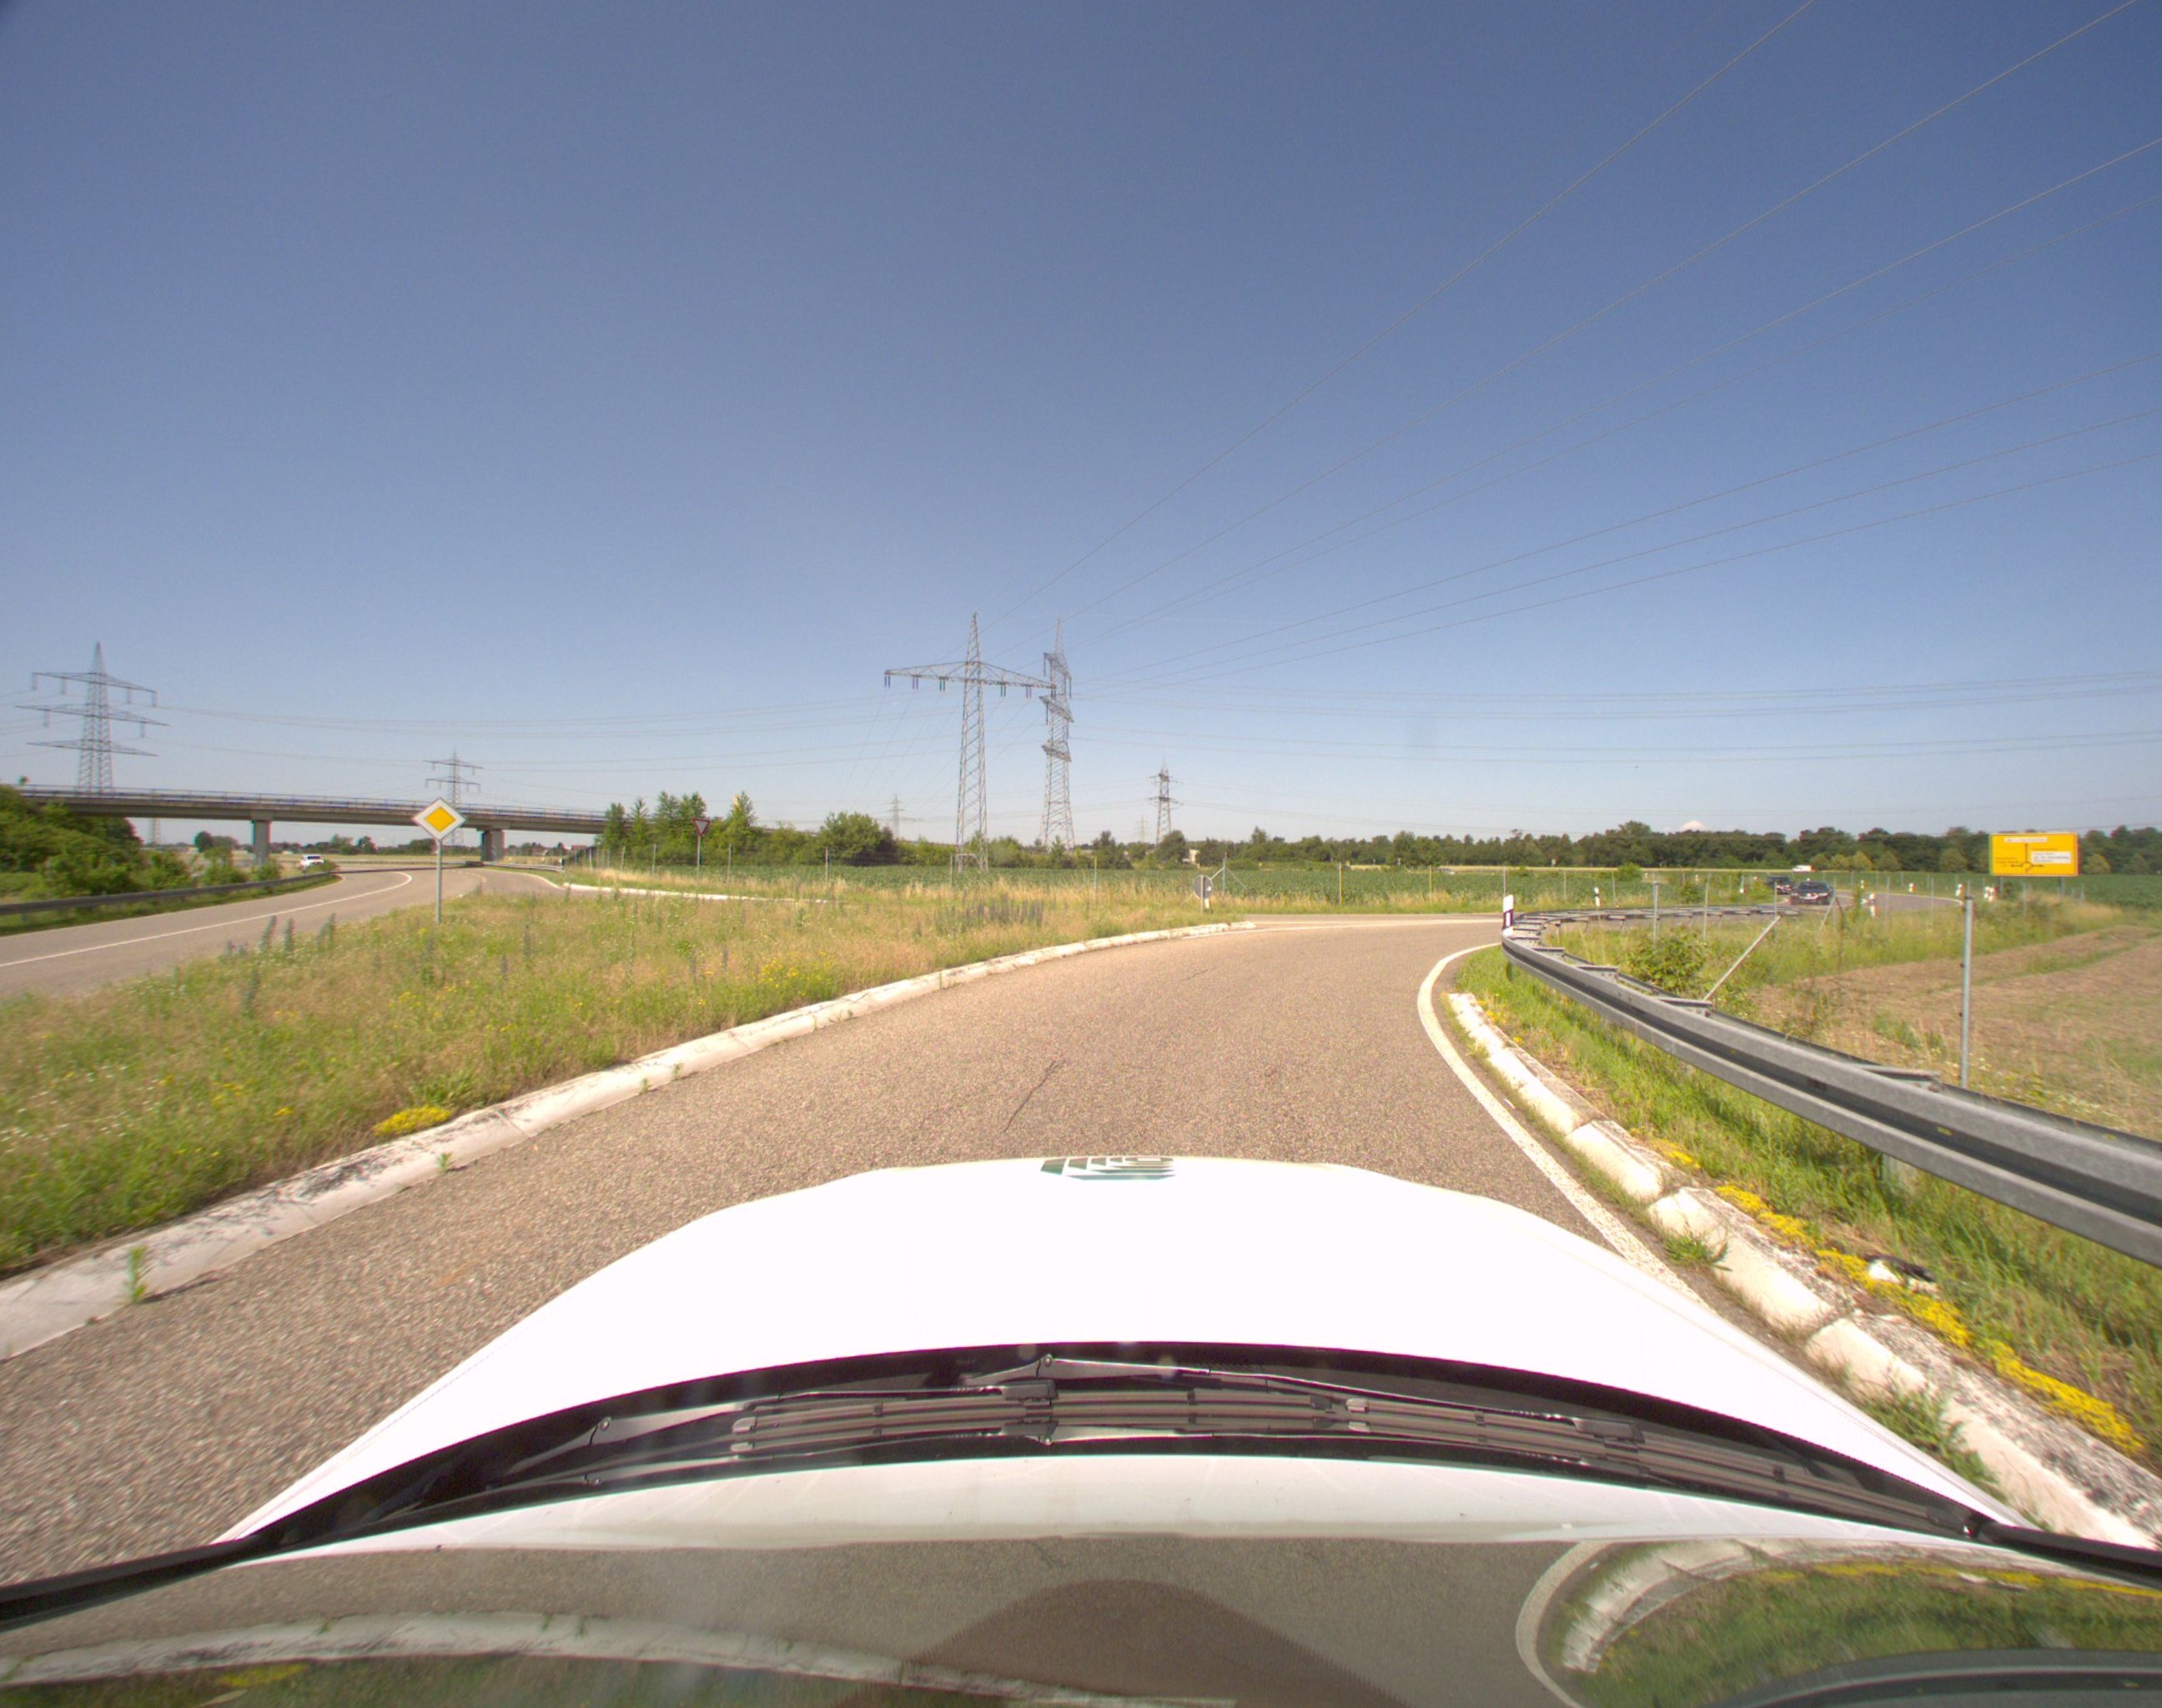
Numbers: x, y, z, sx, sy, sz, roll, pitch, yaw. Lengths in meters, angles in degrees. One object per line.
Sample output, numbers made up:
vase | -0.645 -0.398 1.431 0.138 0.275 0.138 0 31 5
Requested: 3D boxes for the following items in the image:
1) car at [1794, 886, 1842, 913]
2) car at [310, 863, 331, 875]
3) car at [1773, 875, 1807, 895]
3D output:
car | 44.790 2.746 49.460 4.617 1.456 1.759 1 -1 -42
car | -109.884 2.147 117.637 2.114 1.640 5.289 1 0 -44
car | 66.481 2.871 76.431 1.964 1.706 4.288 1 0 35
